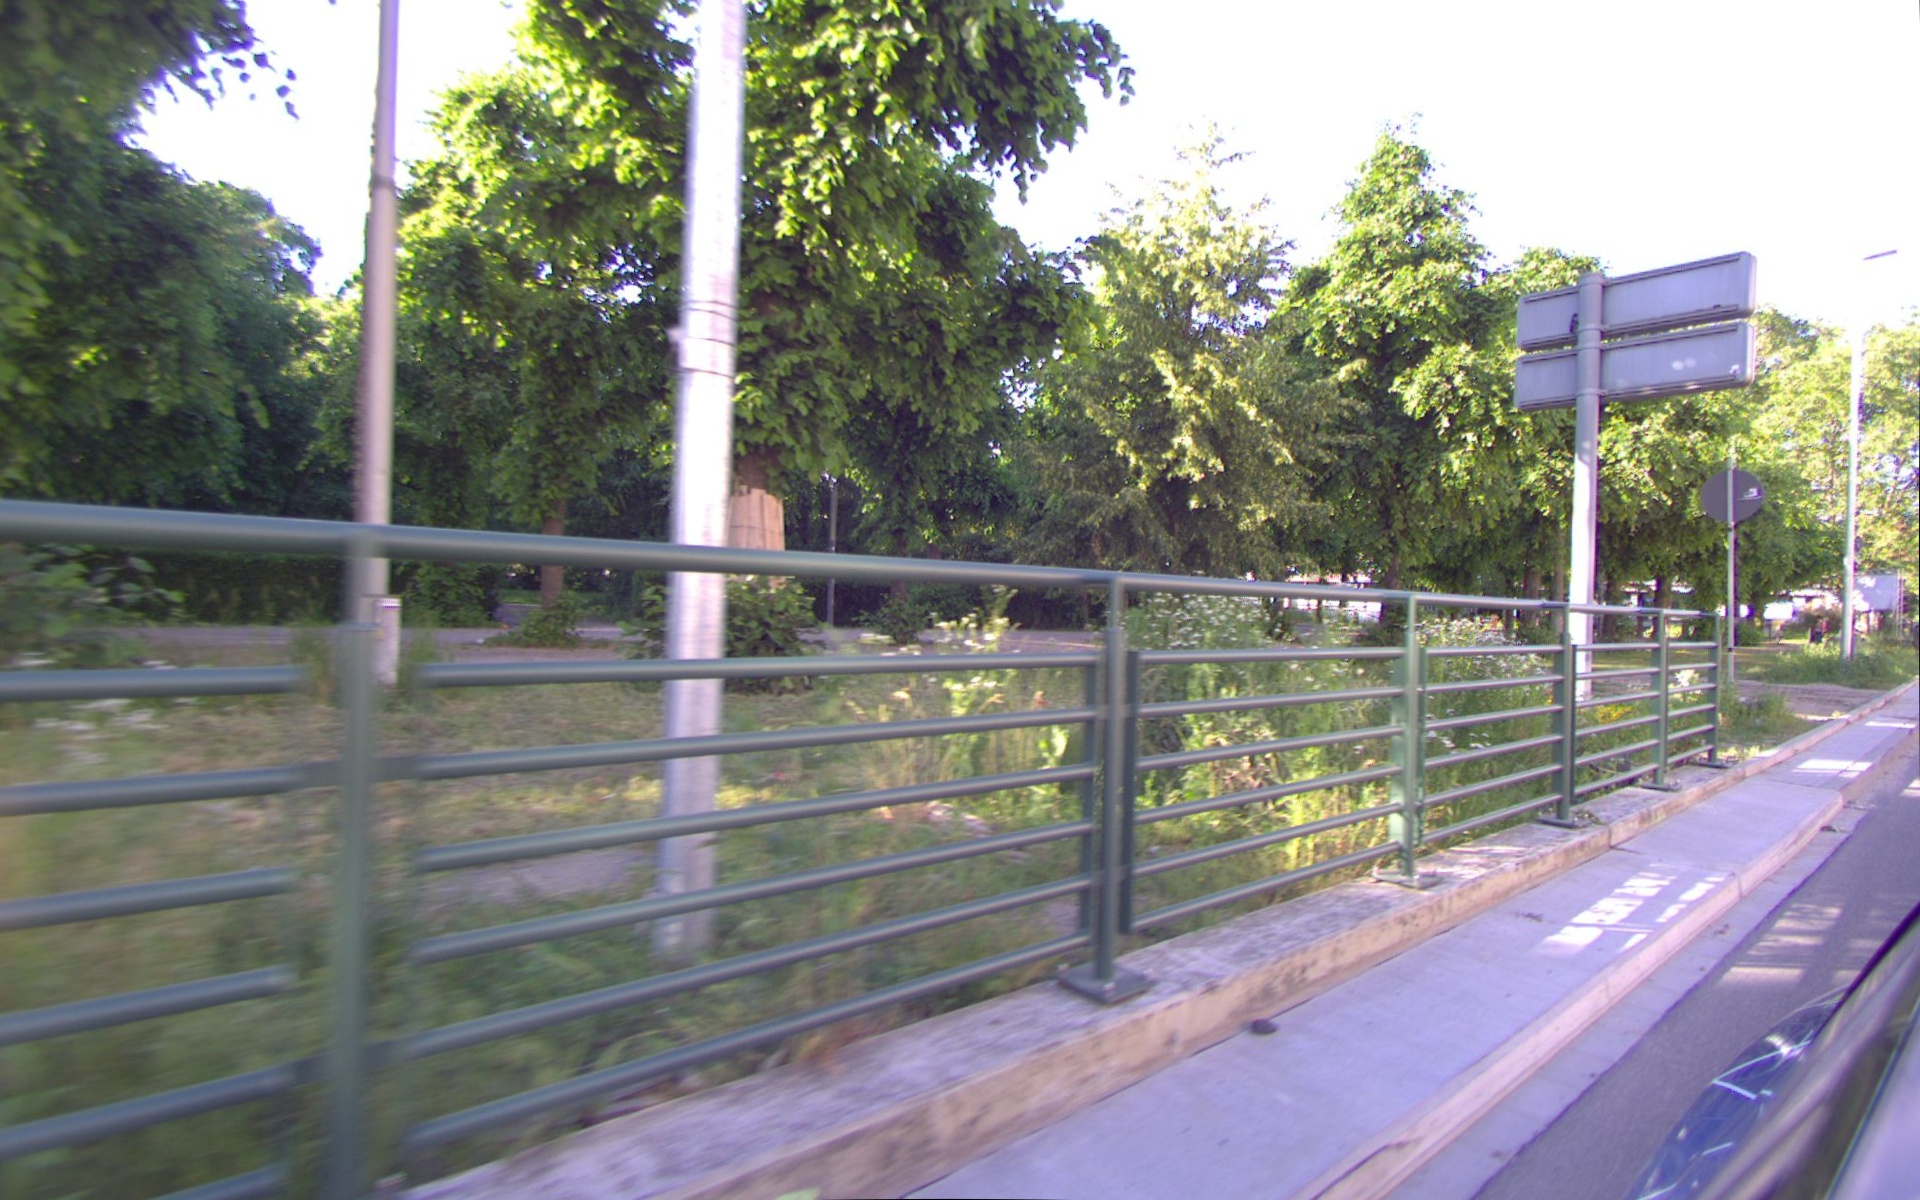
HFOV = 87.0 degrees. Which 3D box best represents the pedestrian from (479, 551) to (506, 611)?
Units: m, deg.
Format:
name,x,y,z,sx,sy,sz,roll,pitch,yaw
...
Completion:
name,x,y,z,sx,sy,sz,roll,pitch,yaw
pedestrian,-14.127,-0.563,30.597,0.558,1.784,0.622,2,1,-39
